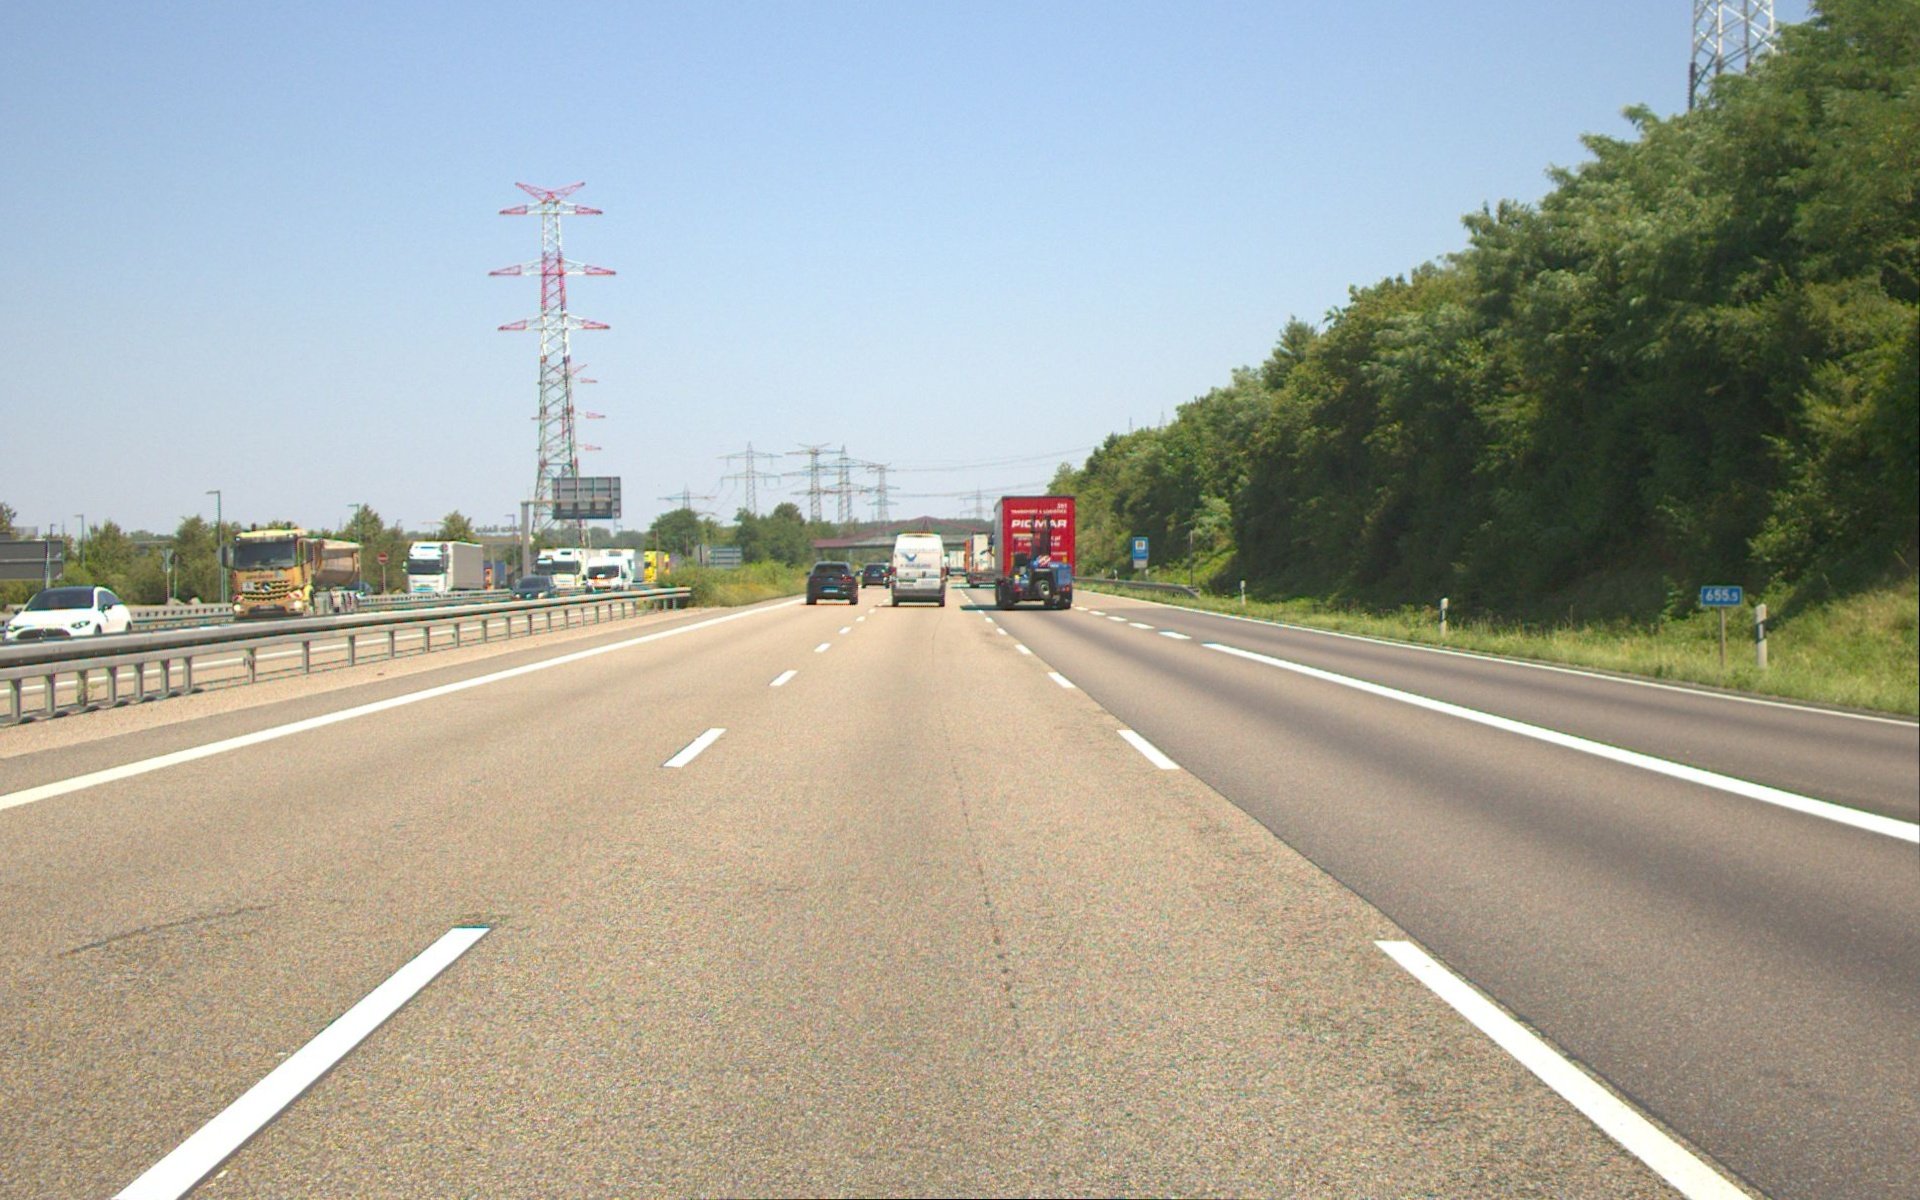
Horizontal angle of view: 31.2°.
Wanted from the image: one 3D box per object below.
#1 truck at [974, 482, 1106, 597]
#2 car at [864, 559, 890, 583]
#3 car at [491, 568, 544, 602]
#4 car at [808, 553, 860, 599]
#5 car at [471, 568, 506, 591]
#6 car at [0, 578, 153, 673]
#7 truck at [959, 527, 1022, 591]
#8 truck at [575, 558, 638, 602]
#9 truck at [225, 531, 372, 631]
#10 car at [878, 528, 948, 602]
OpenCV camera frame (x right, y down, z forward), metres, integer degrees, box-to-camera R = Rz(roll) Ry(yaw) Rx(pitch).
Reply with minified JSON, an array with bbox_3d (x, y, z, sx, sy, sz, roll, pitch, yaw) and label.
[{"bbox_3d":[2.821,-2.216,127.237,4.331,3.928,16.078,1,1,0],"label":"truck"},{"bbox_3d":[-5.822,-2.060,241.475,1.747,1.628,4.004,1,1,-1],"label":"car"},{"bbox_3d":[-18.851,-0.656,146.667,1.815,1.386,3.904,-1,1,-1],"label":"car"},{"bbox_3d":[-4.939,-0.963,135.456,1.993,1.744,4.000,1,1,-1],"label":"car"},{"bbox_3d":[-30.217,-1.319,220.354,1.815,1.386,3.904,-1,1,-1],"label":"car"},{"bbox_3d":[-18.393,0.498,71.456,2.052,1.836,5.473,-1,1,-1],"label":"car"},{"bbox_3d":[2.163,-3.028,251.539,4.331,4.508,16.078,1,1,0],"label":"truck"},{"bbox_3d":[-19.868,-1.134,193.396,2.717,2.413,8.107,-1,0,0],"label":"truck"},{"bbox_3d":[-22.665,-0.662,118.562,2.717,3.248,12.388,-1,0,0],"label":"truck"},{"bbox_3d":[-1.816,-1.373,132.653,2.621,2.749,6.097,1,1,-1],"label":"car"}]
